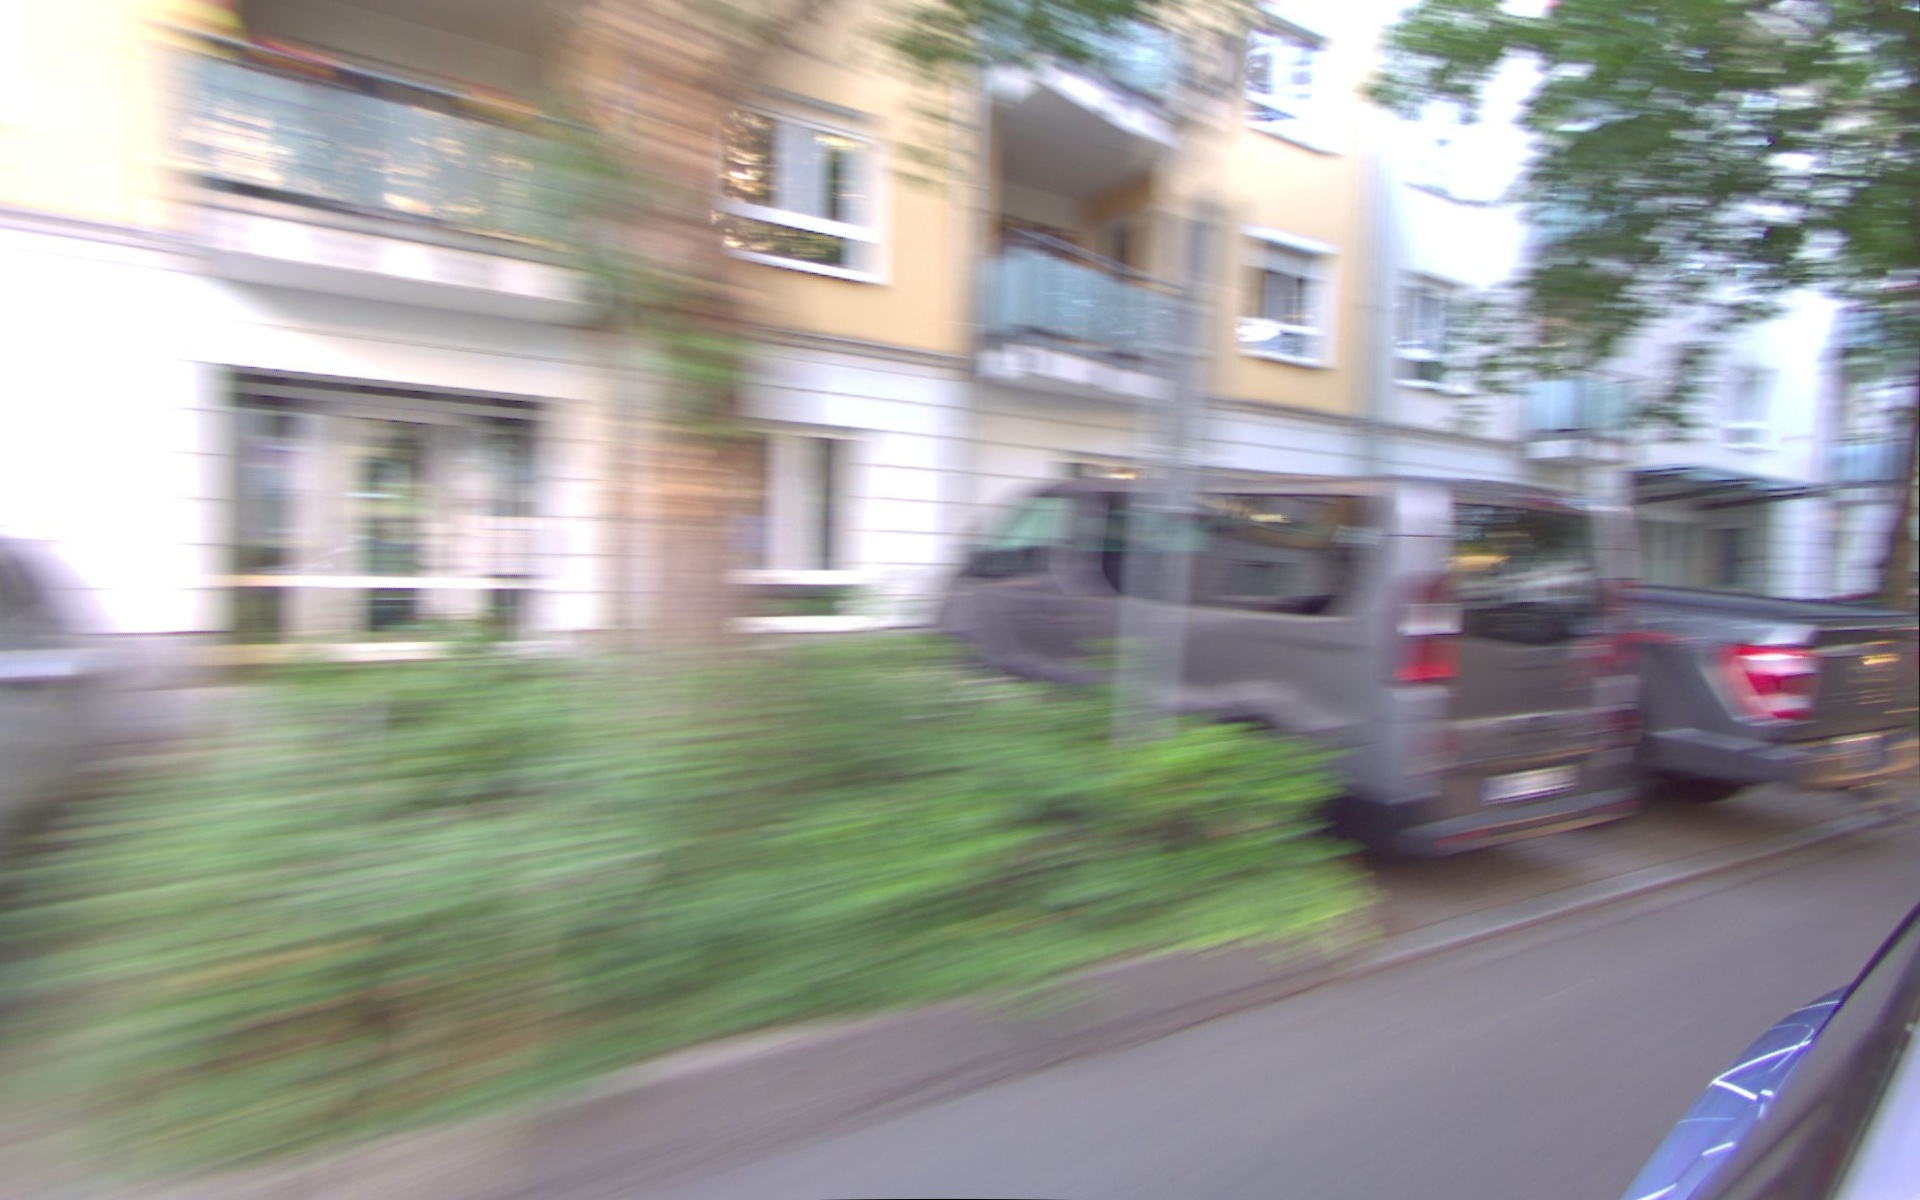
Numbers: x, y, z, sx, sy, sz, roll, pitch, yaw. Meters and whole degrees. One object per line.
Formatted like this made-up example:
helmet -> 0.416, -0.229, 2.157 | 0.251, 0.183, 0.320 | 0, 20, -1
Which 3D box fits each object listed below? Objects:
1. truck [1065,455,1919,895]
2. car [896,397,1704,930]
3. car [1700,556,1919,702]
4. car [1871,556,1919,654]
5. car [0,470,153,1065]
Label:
truck -> 3.596, 0.035, 8.052 | 2.216, 2.157, 6.036 | 0, 6, -31
car -> 1.585, 0.019, 6.555 | 1.996, 2.157, 4.644 | 0, 6, -31
car -> 11.931, 0.363, 12.799 | 1.746, 1.566, 3.682 | -1, 7, -33
car -> 18.847, 0.244, 17.392 | 1.861, 1.723, 4.397 | -1, 6, -39
car -> -4.078, 0.443, 3.287 | 1.800, 1.725, 4.815 | 0, 2, -33
